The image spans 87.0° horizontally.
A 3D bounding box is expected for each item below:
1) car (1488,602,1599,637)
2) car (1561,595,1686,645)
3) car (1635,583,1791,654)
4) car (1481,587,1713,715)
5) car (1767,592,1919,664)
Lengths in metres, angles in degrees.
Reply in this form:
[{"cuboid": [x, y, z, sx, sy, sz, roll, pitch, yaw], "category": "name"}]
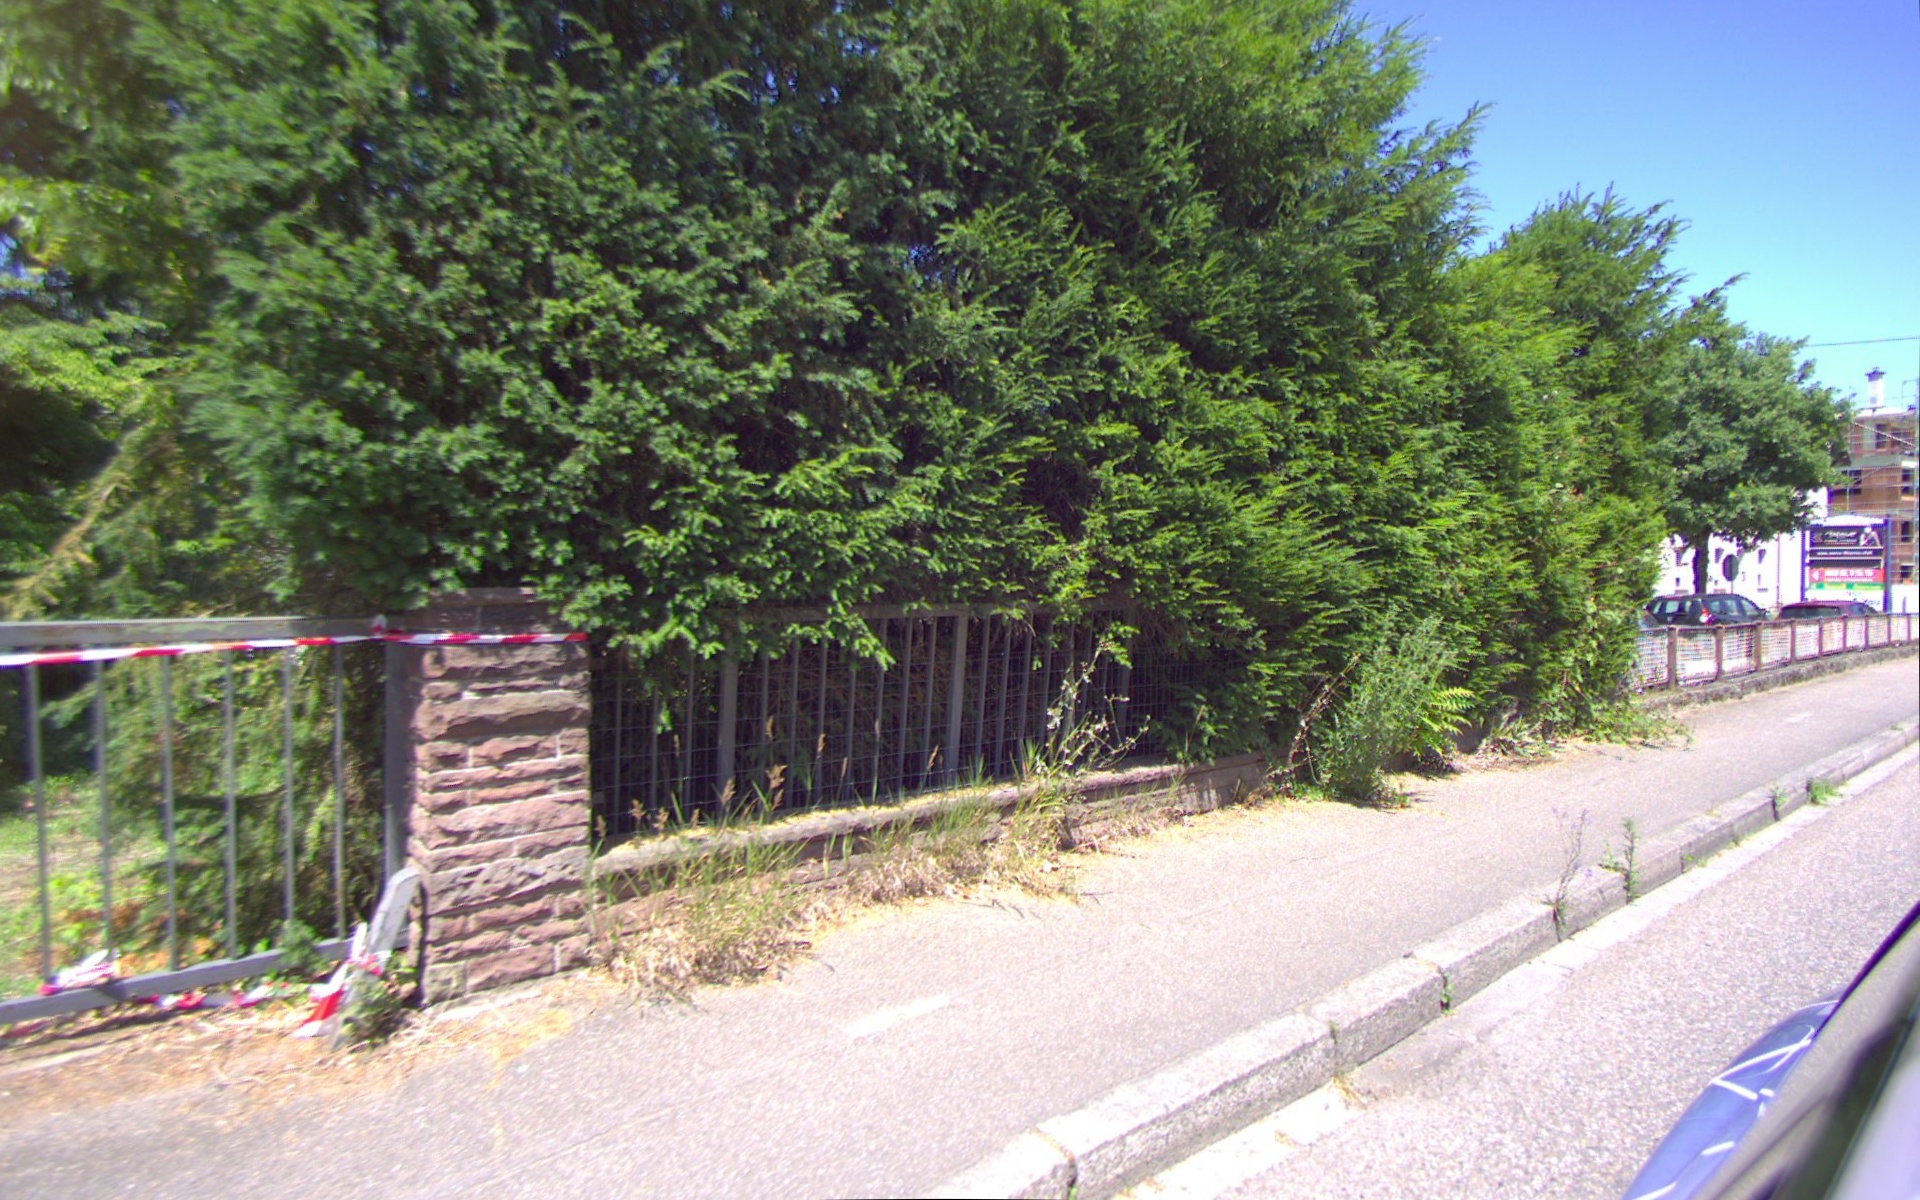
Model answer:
[{"cuboid": [26.075, 0.862, 45.344, 1.780, 1.462, 3.899, -1, -1, -30], "category": "car"}, {"cuboid": [18.649, 0.522, 28.436, 3.318, 1.286, 1.718, -1, 0, -32], "category": "car"}, {"cuboid": [19.562, 0.437, 26.235, 4.372, 1.687, 1.718, -1, -1, -32], "category": "car"}, {"cuboid": [8.624, 0.625, 13.615, 3.494, 1.478, 1.633, -1, -3, -41], "category": "car"}, {"cuboid": [21.002, 0.603, 23.990, 3.763, 1.542, 1.719, -1, 1, -31], "category": "car"}]
